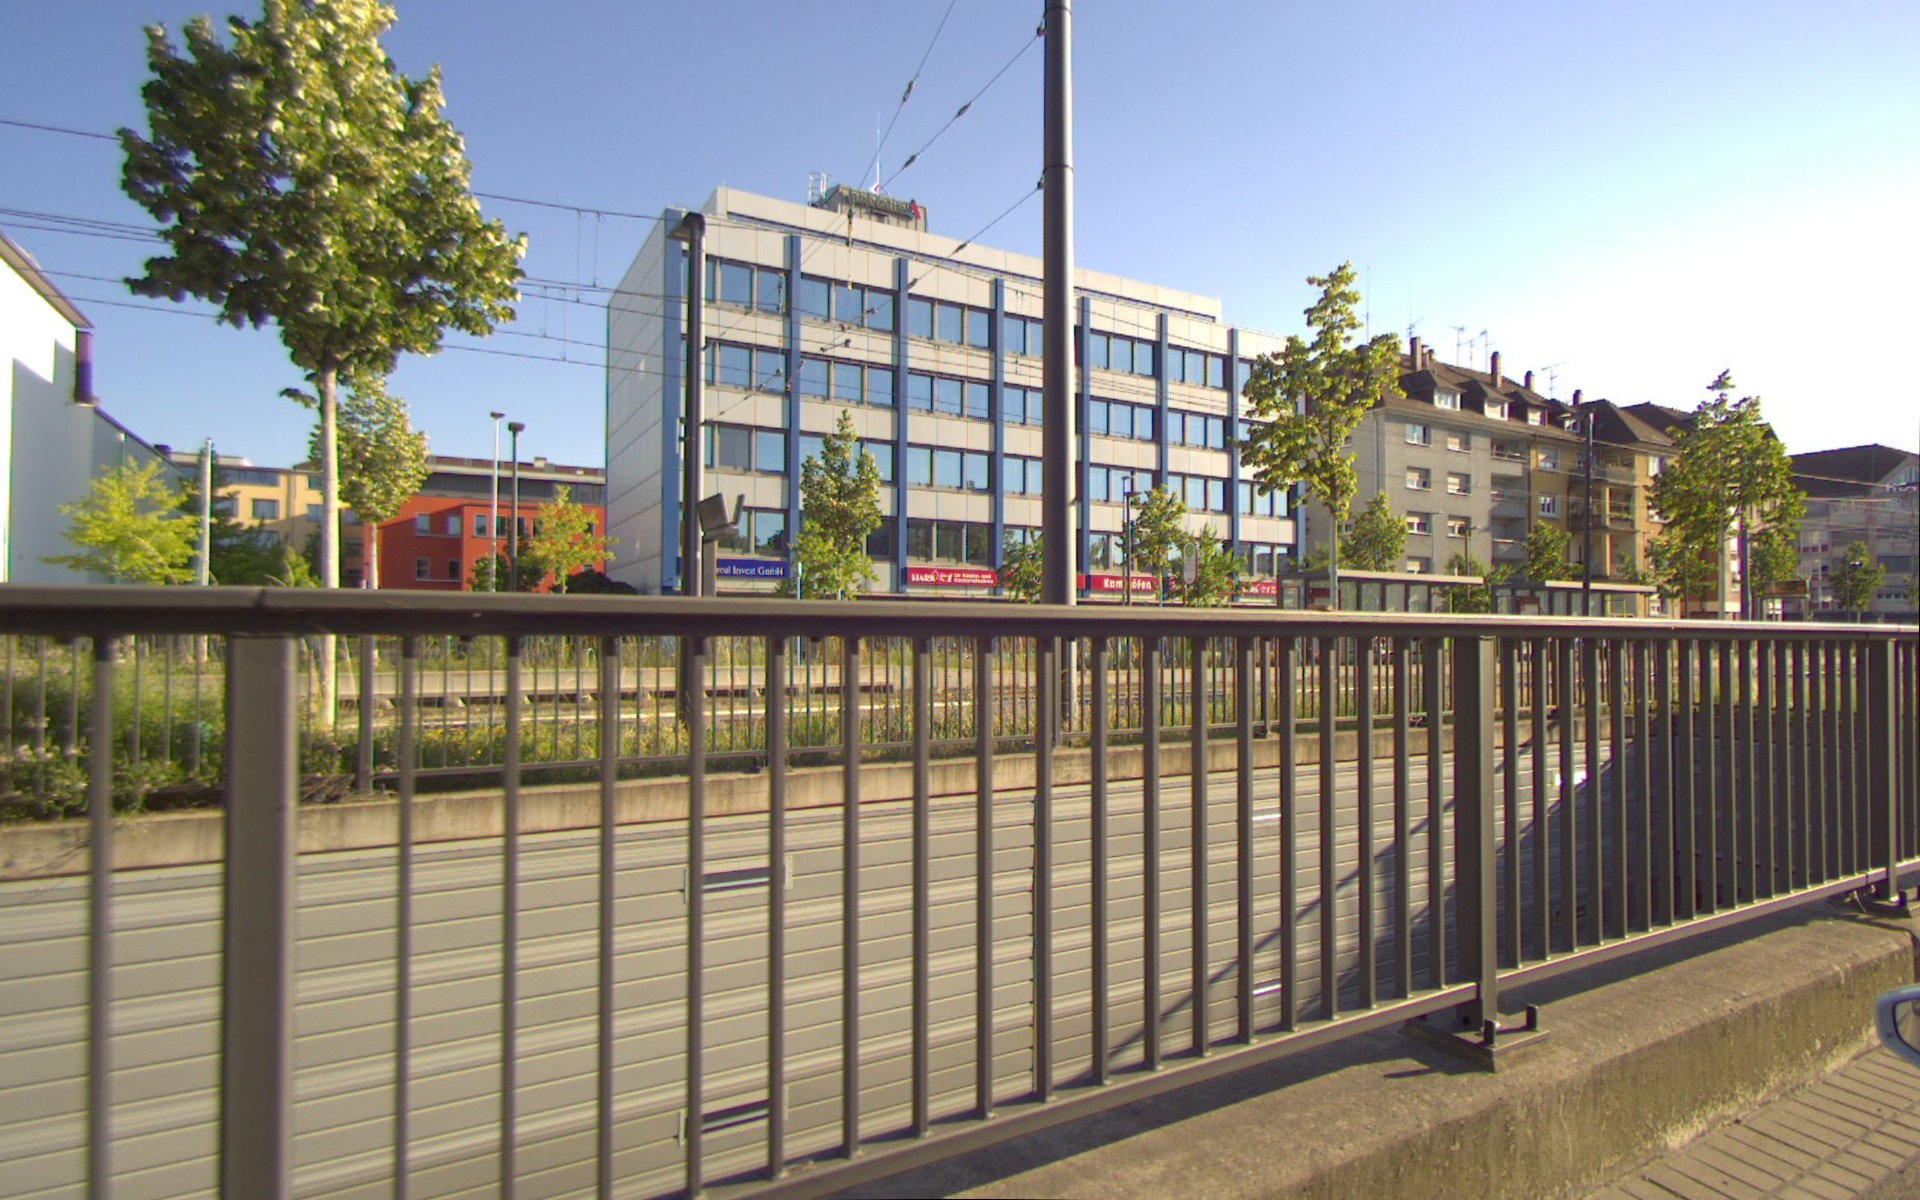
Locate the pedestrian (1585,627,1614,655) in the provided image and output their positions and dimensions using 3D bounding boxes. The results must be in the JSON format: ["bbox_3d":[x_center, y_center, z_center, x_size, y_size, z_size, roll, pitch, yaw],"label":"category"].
[{"bbox_3d":[23.780,1.520,37.341,0.785,1.061,0.624,1,-2,-30],"label":"pedestrian"}]

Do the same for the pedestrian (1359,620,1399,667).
[{"bbox_3d":[12.985,1.349,31.152,0.794,1.429,0.834,1,-2,-30],"label":"pedestrian"}]

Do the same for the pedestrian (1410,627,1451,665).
[{"bbox_3d":[15.186,1.475,32.420,0.755,1.213,0.929,1,-2,-30],"label":"pedestrian"}]
